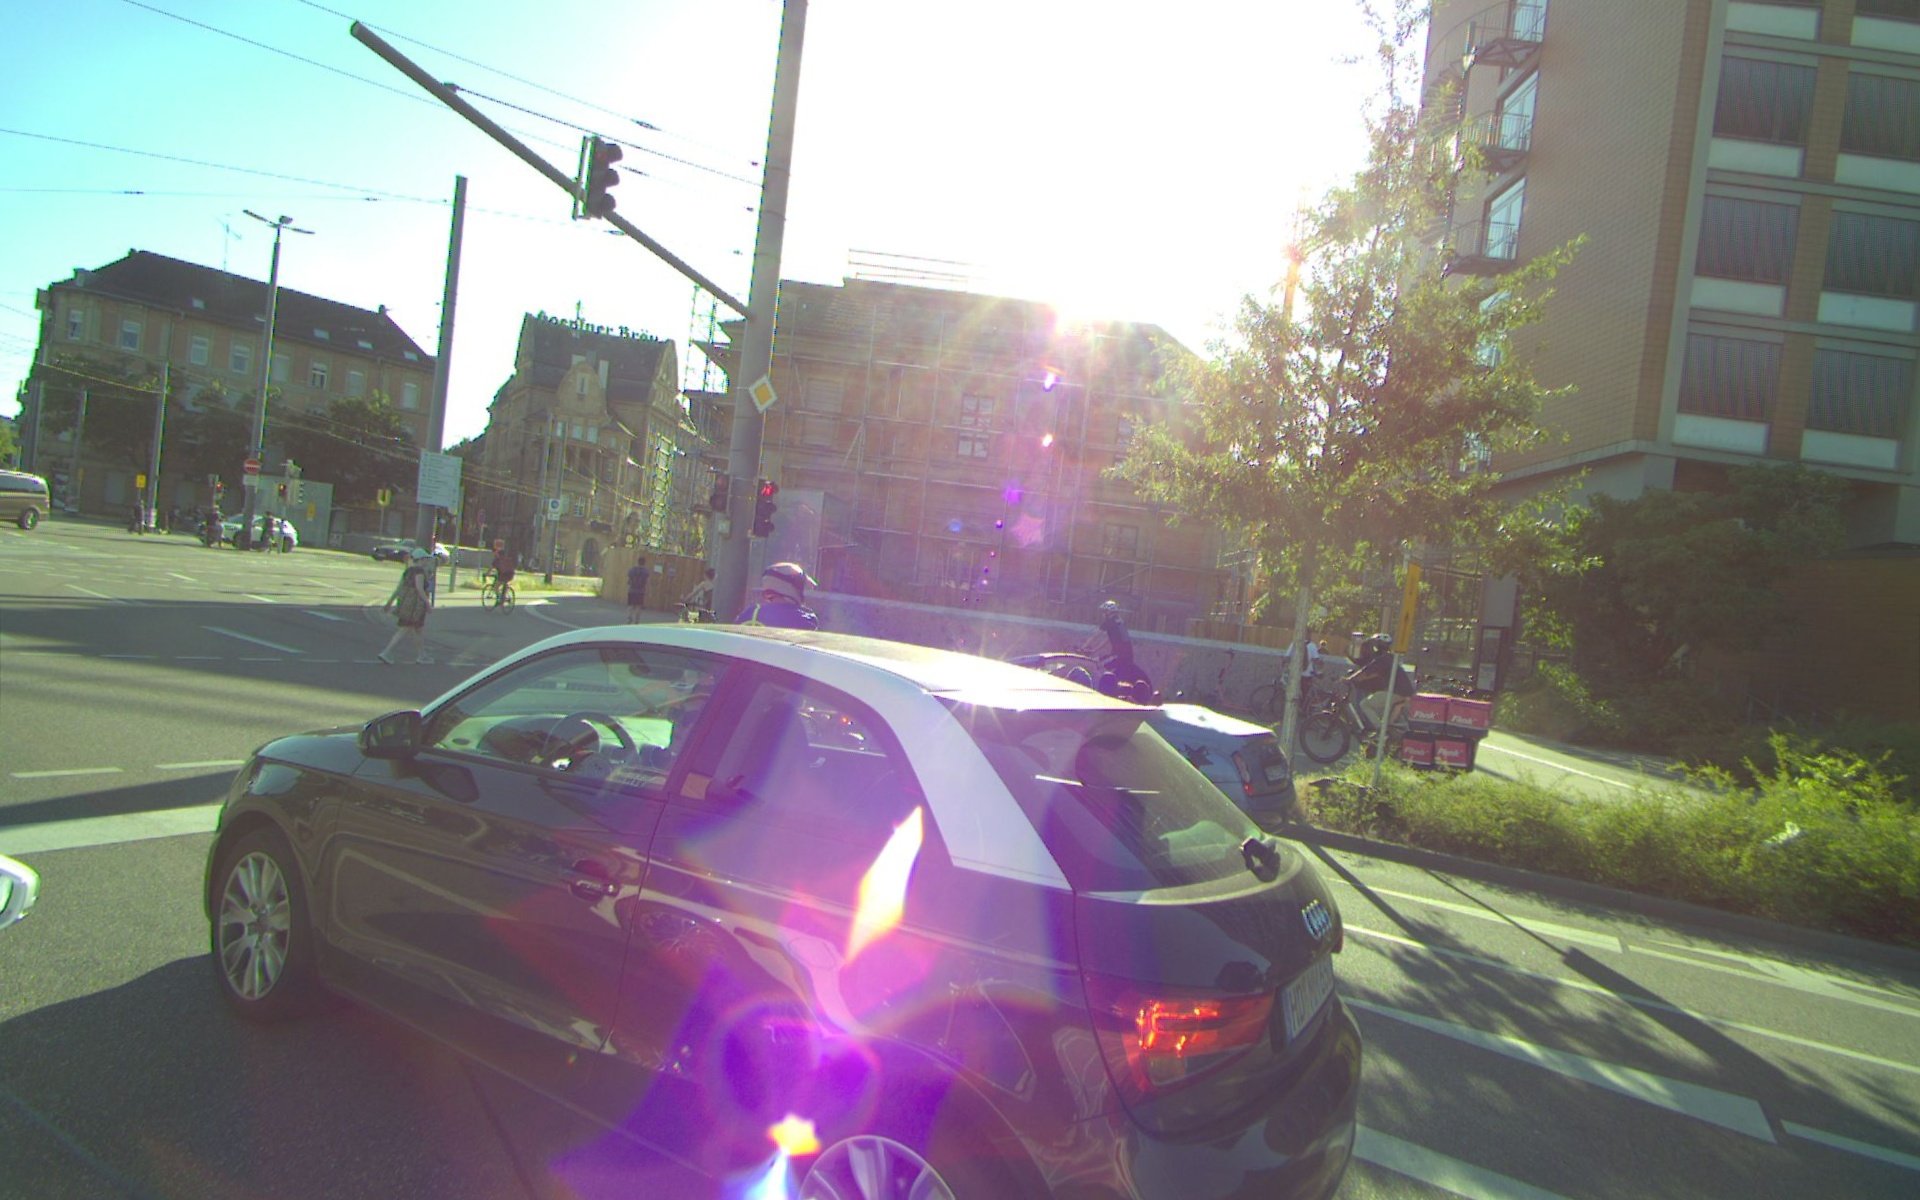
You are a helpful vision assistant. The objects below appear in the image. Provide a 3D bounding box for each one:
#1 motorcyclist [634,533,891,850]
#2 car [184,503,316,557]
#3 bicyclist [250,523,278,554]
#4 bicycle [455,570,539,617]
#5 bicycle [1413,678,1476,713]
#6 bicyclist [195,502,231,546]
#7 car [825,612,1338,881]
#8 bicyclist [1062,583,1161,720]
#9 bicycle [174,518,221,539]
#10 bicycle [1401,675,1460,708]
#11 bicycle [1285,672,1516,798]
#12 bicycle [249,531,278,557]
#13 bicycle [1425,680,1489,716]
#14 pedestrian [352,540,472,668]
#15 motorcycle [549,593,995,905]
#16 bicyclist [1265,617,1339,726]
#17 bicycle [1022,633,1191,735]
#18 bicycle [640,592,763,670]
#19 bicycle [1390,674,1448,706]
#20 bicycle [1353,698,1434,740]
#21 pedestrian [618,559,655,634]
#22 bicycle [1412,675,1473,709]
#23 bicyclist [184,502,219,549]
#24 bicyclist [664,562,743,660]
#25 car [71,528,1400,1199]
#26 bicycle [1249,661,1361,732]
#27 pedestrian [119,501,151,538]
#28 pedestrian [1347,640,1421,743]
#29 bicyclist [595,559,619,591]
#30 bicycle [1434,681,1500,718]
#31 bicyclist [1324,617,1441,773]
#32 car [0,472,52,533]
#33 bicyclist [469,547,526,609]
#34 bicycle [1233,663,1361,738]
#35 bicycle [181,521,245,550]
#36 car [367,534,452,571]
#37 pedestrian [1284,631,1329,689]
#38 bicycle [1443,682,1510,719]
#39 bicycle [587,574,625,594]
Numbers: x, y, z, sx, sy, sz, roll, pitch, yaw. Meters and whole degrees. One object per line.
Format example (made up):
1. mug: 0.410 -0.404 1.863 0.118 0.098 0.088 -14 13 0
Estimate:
1. motorcyclist: -1.221 0.546 6.363 0.921 1.742 1.097 6 -1 33
2. car: -33.082 -3.232 47.061 1.916 1.821 4.852 7 0 14
3. bicyclist: -30.414 -2.694 43.951 0.853 1.191 0.707 8 1 -38
4. bicycle: -11.611 -0.166 25.194 2.212 0.964 0.721 5 -1 32
5. bicycle: 15.215 2.997 31.613 1.623 0.868 0.529 7 1 1
6. bicyclist: -31.473 -3.189 42.392 0.844 1.711 0.651 8 1 1
7. car: 0.966 1.108 8.741 3.915 1.461 1.803 7 -2 35
8. bicyclist: 2.249 0.755 14.915 1.074 1.853 0.779 7 1 26
9. bicycle: -47.343 -4.418 62.466 0.844 0.991 2.305 9 0 9
10. bicycle: 15.585 3.026 33.325 1.623 0.868 0.529 7 1 1
11. bicycle: 5.683 1.701 13.112 2.542 1.170 0.777 7 1 38
12. bicycle: -30.454 -2.460 43.974 0.854 0.916 2.278 8 0 -38
13. bicycle: 15.303 3.003 30.987 1.623 0.868 0.529 7 1 1
14. pedestrian: -7.548 0.079 13.890 0.686 1.626 1.096 9 1 21
15. motorcycle: -1.242 0.811 6.354 2.610 1.394 1.097 6 -1 33
16. bicyclist: 6.114 1.263 17.969 0.881 1.810 0.785 6 2 40
17. bicycle: 2.167 1.213 14.941 2.250 1.170 0.779 7 1 26
18. bicycle: -4.827 0.558 18.740 2.252 1.172 0.778 7 3 30
19. bicycle: 15.498 3.031 33.984 1.623 0.868 0.529 7 1 1
20. bicycle: 8.258 2.262 19.203 1.332 0.547 0.430 7 2 18
21. pedestrian: -7.726 -0.092 24.025 0.688 1.693 0.825 5 2 -20
22. bicycle: 15.625 2.992 32.610 1.623 0.868 0.529 7 1 1
23. bicyclist: -31.474 -3.071 41.742 0.851 1.800 0.584 6 1 1
24. bicyclist: -4.762 0.197 18.700 1.074 1.700 0.778 7 3 30
25. car: -0.833 0.761 3.296 3.910 1.461 1.805 7 -1 29
26. bicycle: 6.435 1.784 18.887 0.621 1.052 1.946 4 1 -33
27. pedestrian: -41.629 -4.056 50.745 0.770 1.697 0.925 7 1 31
28. pedestrian: 7.544 1.629 17.910 0.803 1.677 0.781 9 -2 -42
29. bicyclist: -20.258 -1.429 57.798 0.844 1.711 0.748 9 1 11
30. bicycle: 15.324 3.001 30.405 1.623 0.868 0.529 7 1 1
31. bicyclist: 5.553 1.228 13.229 1.077 1.856 0.777 7 1 38
32. car: -33.373 -3.464 33.622 1.920 1.916 4.844 7 0 -8
33. bicyclist: -11.584 -0.547 25.204 1.058 1.401 0.721 5 -1 32
34. bicycle: 6.004 1.764 17.984 1.935 1.052 0.788 6 2 40
35. bicycle: -31.509 -2.711 42.467 0.844 0.916 2.303 9 0 1
36. car: -31.711 -2.706 58.110 1.915 1.582 4.360 9 0 8
37. pedestrian: 13.152 2.275 38.257 1.274 2.039 0.996 7 1 12
38. bicycle: 15.315 2.982 29.843 1.623 0.868 0.529 7 1 1
39. bicycle: -20.327 -0.927 57.793 0.844 0.885 2.503 9 0 11
